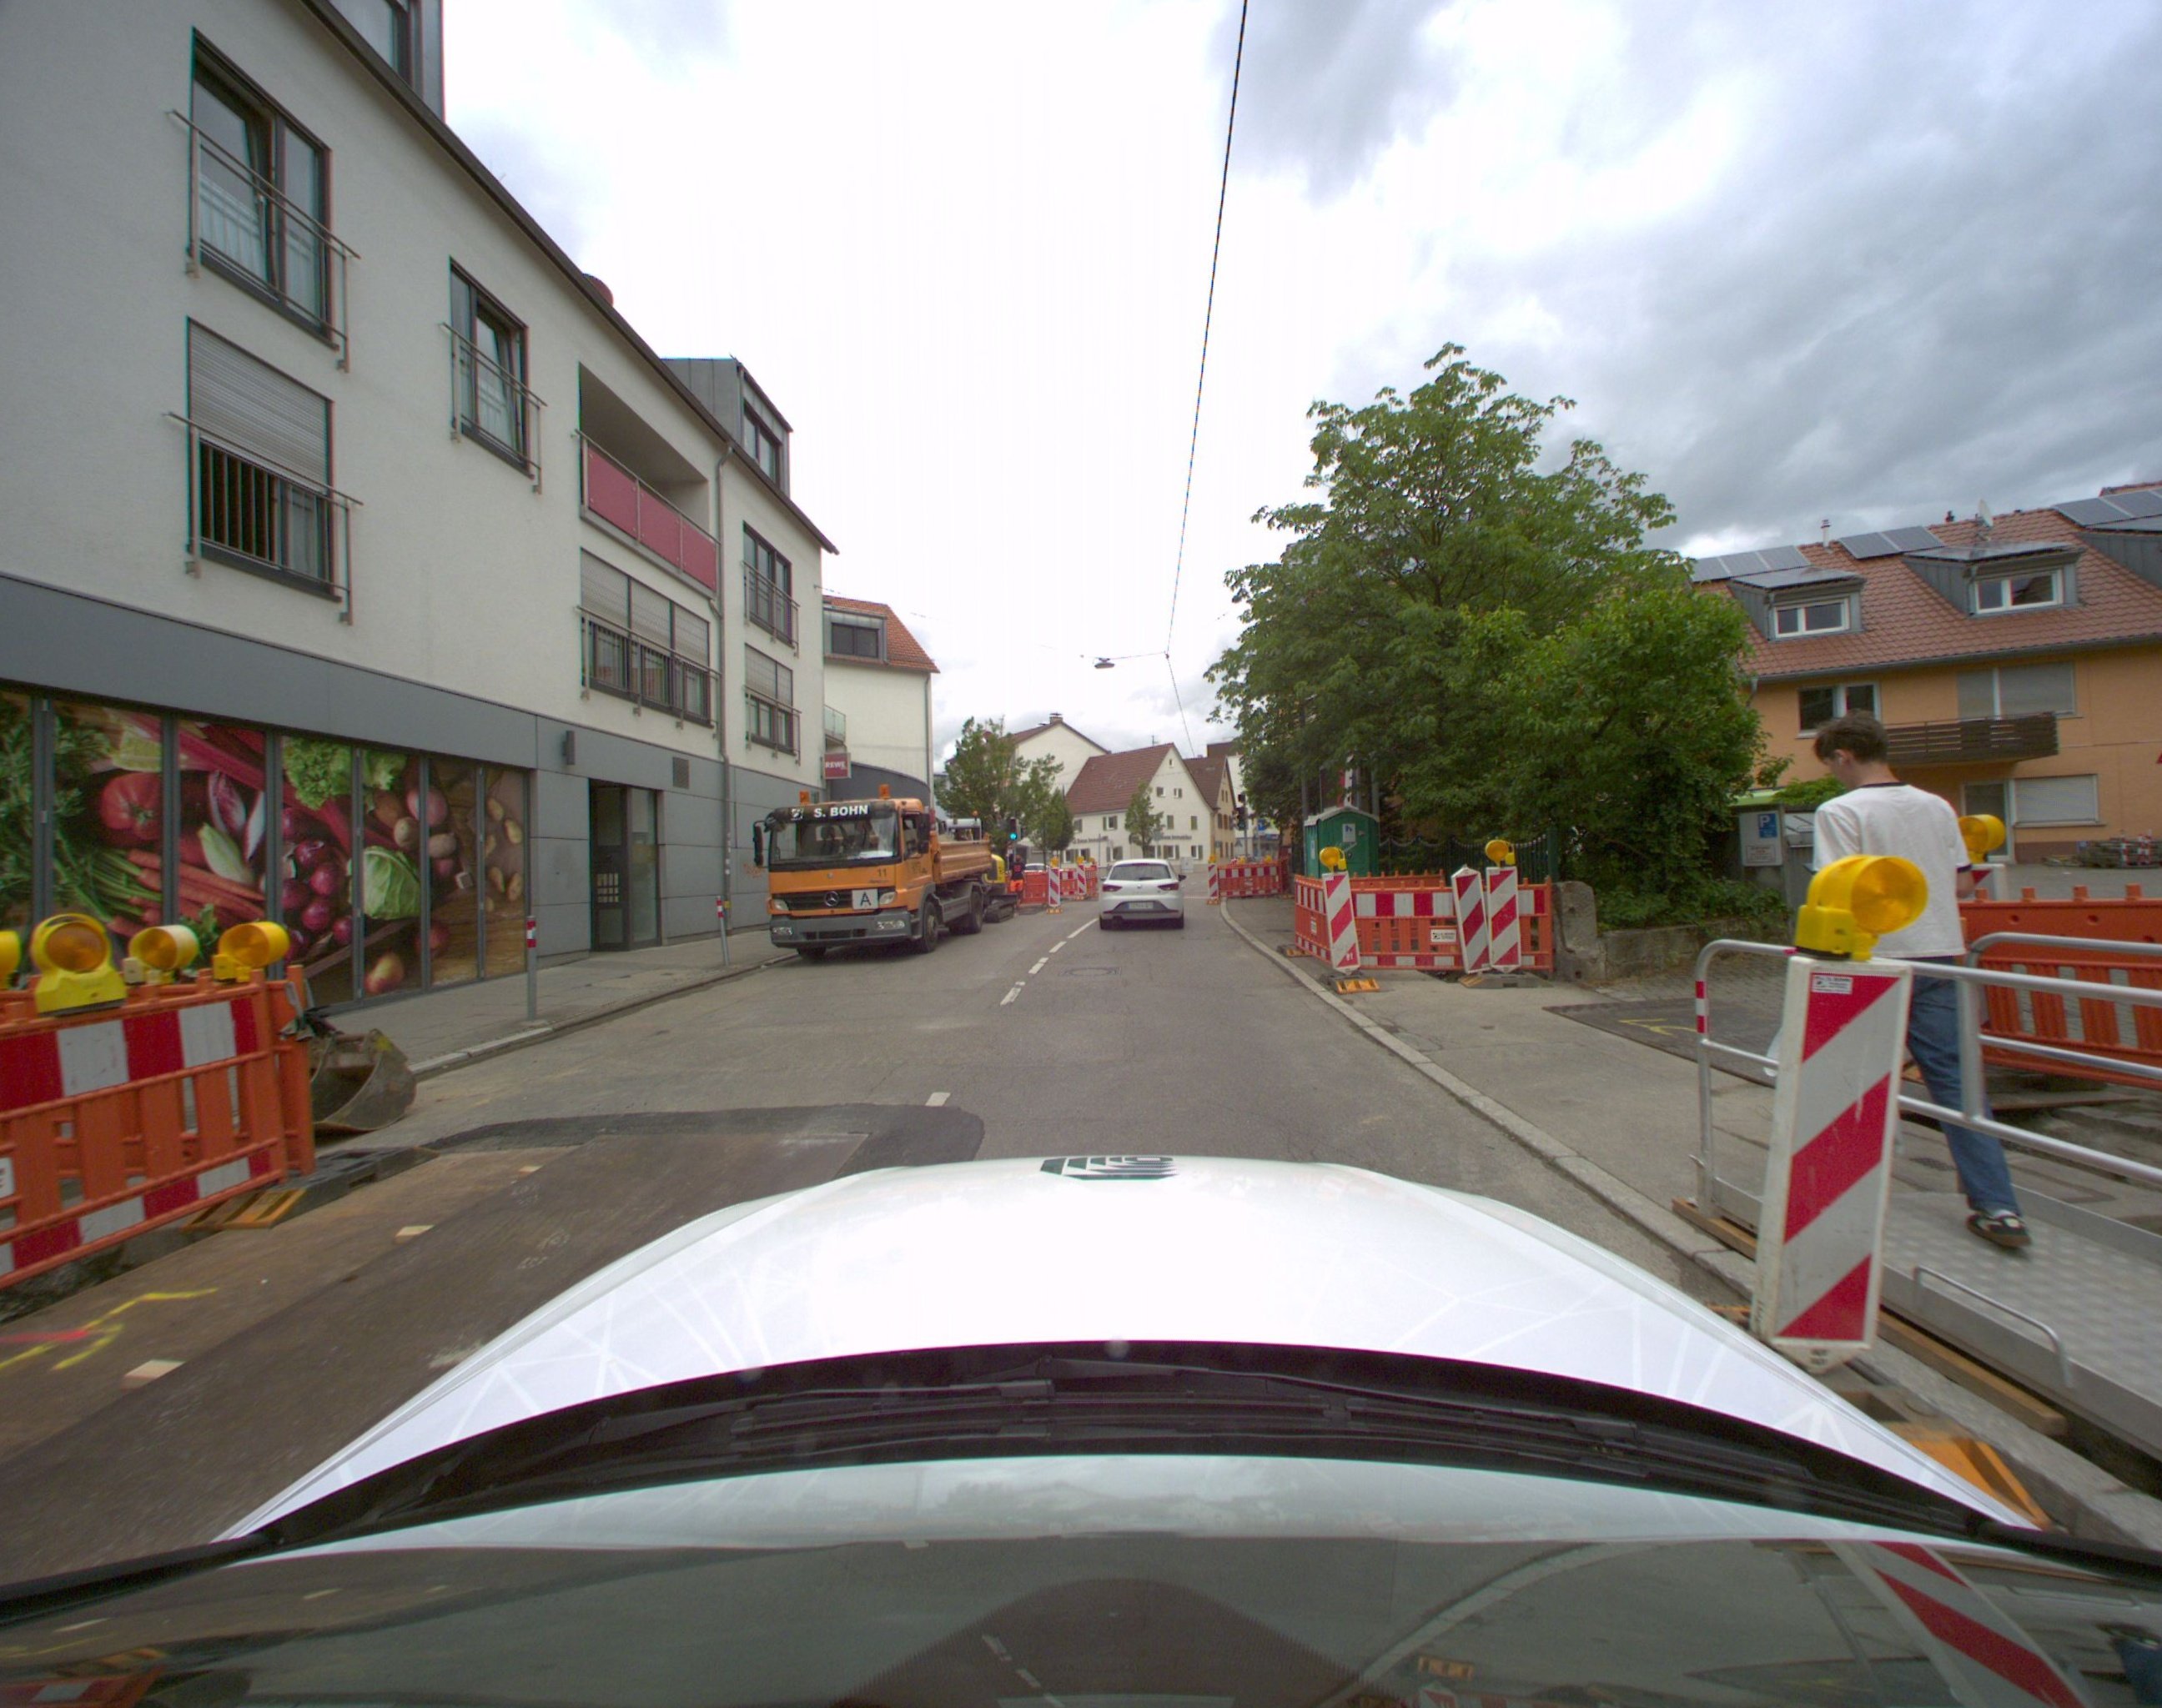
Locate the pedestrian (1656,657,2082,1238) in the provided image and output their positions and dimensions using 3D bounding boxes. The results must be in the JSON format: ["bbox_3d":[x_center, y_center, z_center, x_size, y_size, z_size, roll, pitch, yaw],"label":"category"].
[{"bbox_3d":[2.984,0.315,3.195,0.795,1.950,0.836,-3,0,0],"label":"pedestrian"}]

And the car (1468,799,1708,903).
[{"bbox_3d":[10.933,-0.017,17.811,4.173,2.033,2.013,-2,0,32],"label":"car"}]

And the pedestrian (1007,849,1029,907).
[{"bbox_3d":[-1.938,0.742,25.002,0.534,1.744,0.445,-2,0,9],"label":"pedestrian"}]

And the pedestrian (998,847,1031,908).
[{"bbox_3d":[-2.041,0.711,25.018,0.809,1.816,0.745,-2,0,9],"label":"pedestrian"}]

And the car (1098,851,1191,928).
[{"bbox_3d":[1.329,0.685,17.882,1.804,1.480,3.873,0,0,3],"label":"car"}]

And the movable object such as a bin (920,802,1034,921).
[{"bbox_3d":[-2.623,0.217,21.679,1.829,2.763,4.515,-2,-1,8],"label":"movable object such as a bin"}]

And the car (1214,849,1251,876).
[{"bbox_3d":[9.447,0.485,50.468,1.797,1.480,3.887,-2,0,16],"label":"car"}]

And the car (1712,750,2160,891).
[{"bbox_3d":[10.720,-0.402,10.416,3.976,1.563,1.746,-1,0,-2],"label":"car"}]

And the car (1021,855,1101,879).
[{"bbox_3d":[-1.275,0.834,53.597,4.876,1.477,2.254,-1,0,7],"label":"car"}]

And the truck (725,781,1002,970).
[{"bbox_3d":[-3.592,0.294,15.547,2.717,2.725,6.860,-2,0,6],"label":"truck"}]
